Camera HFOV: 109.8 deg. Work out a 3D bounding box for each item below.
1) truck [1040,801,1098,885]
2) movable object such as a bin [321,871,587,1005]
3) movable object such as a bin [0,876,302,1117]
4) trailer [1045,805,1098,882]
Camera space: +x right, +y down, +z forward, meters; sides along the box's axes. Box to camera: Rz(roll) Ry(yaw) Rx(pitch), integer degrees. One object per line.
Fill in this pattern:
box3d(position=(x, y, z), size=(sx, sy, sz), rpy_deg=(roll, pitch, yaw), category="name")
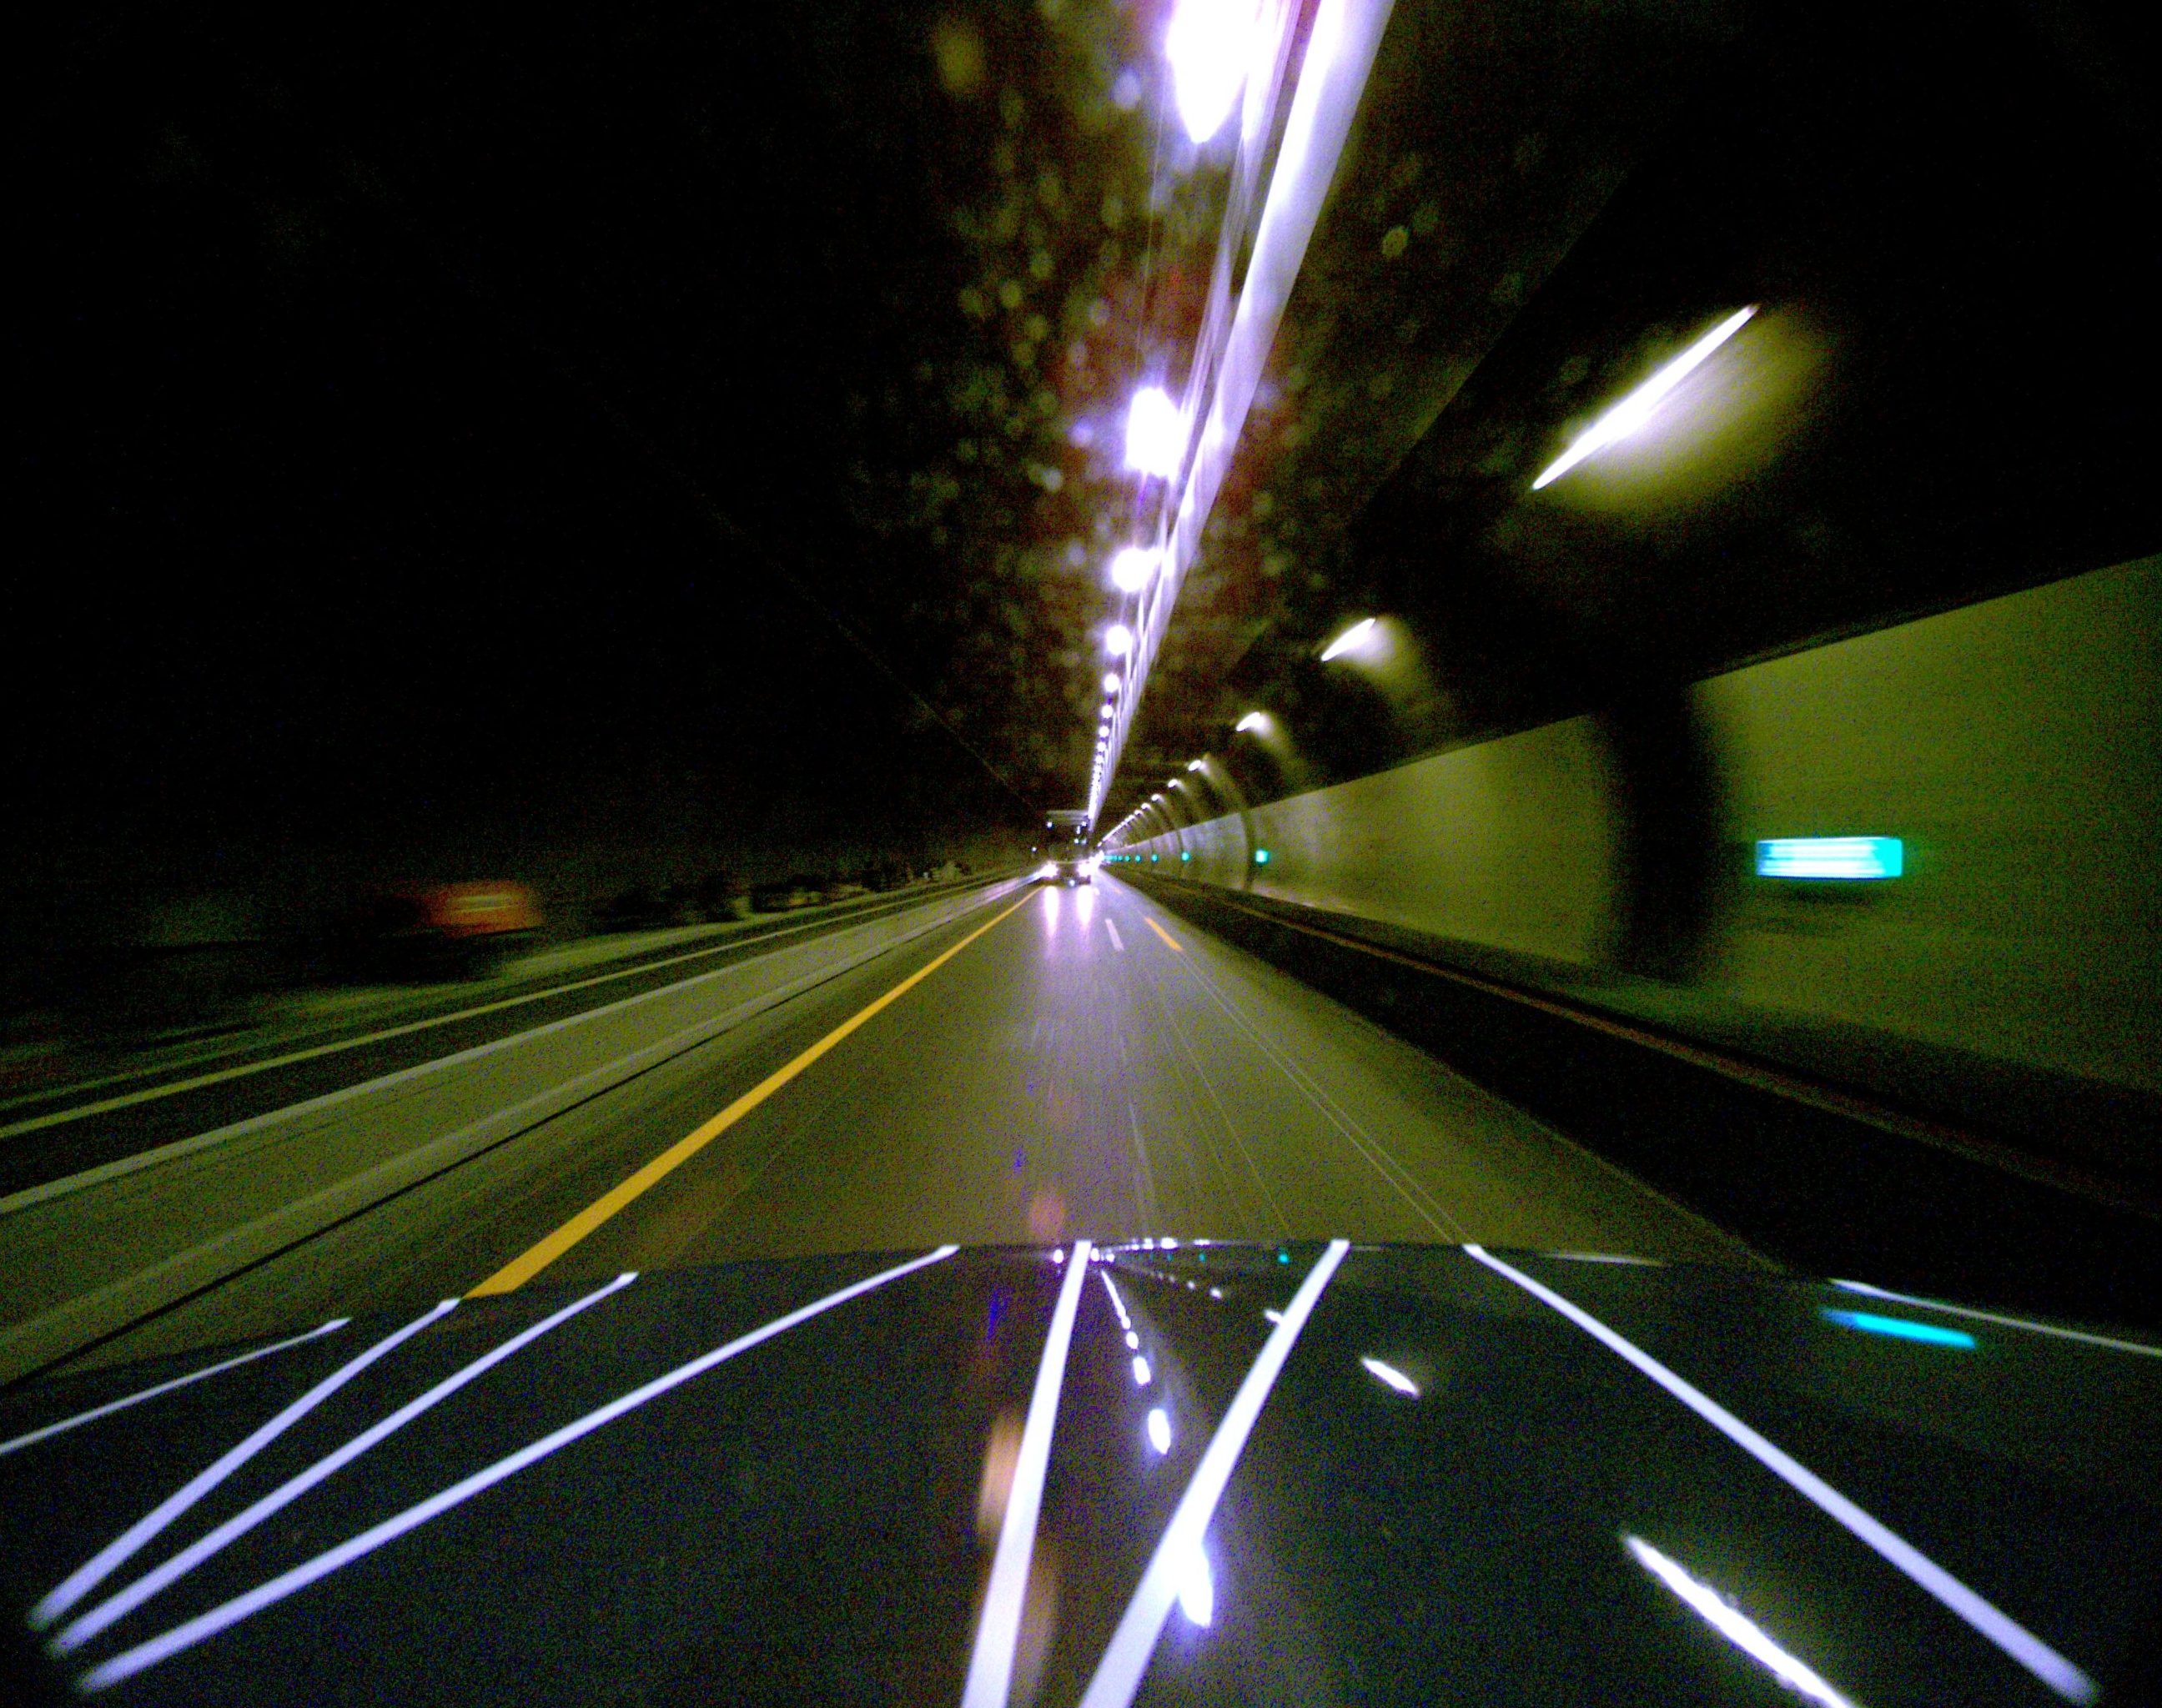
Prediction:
box3d(position=(-0.575, -0.622, 44.007), size=(2.950, 4.338, 6.674), rpy_deg=(-2, 1, 1), category="truck")
box3d(position=(-8.859, 1.085, 11.057), size=(1.306, 1.584, 3.055), rpy_deg=(2, 0, 0), category="movable object such as a bin")
box3d(position=(-8.873, 1.078, 5.469), size=(1.865, 1.665, 4.501), rpy_deg=(2, 0, 0), category="movable object such as a bin")
box3d(position=(-0.476, -0.675, 49.348), size=(2.939, 4.316, 10.051), rpy_deg=(-2, 1, 1), category="trailer")
